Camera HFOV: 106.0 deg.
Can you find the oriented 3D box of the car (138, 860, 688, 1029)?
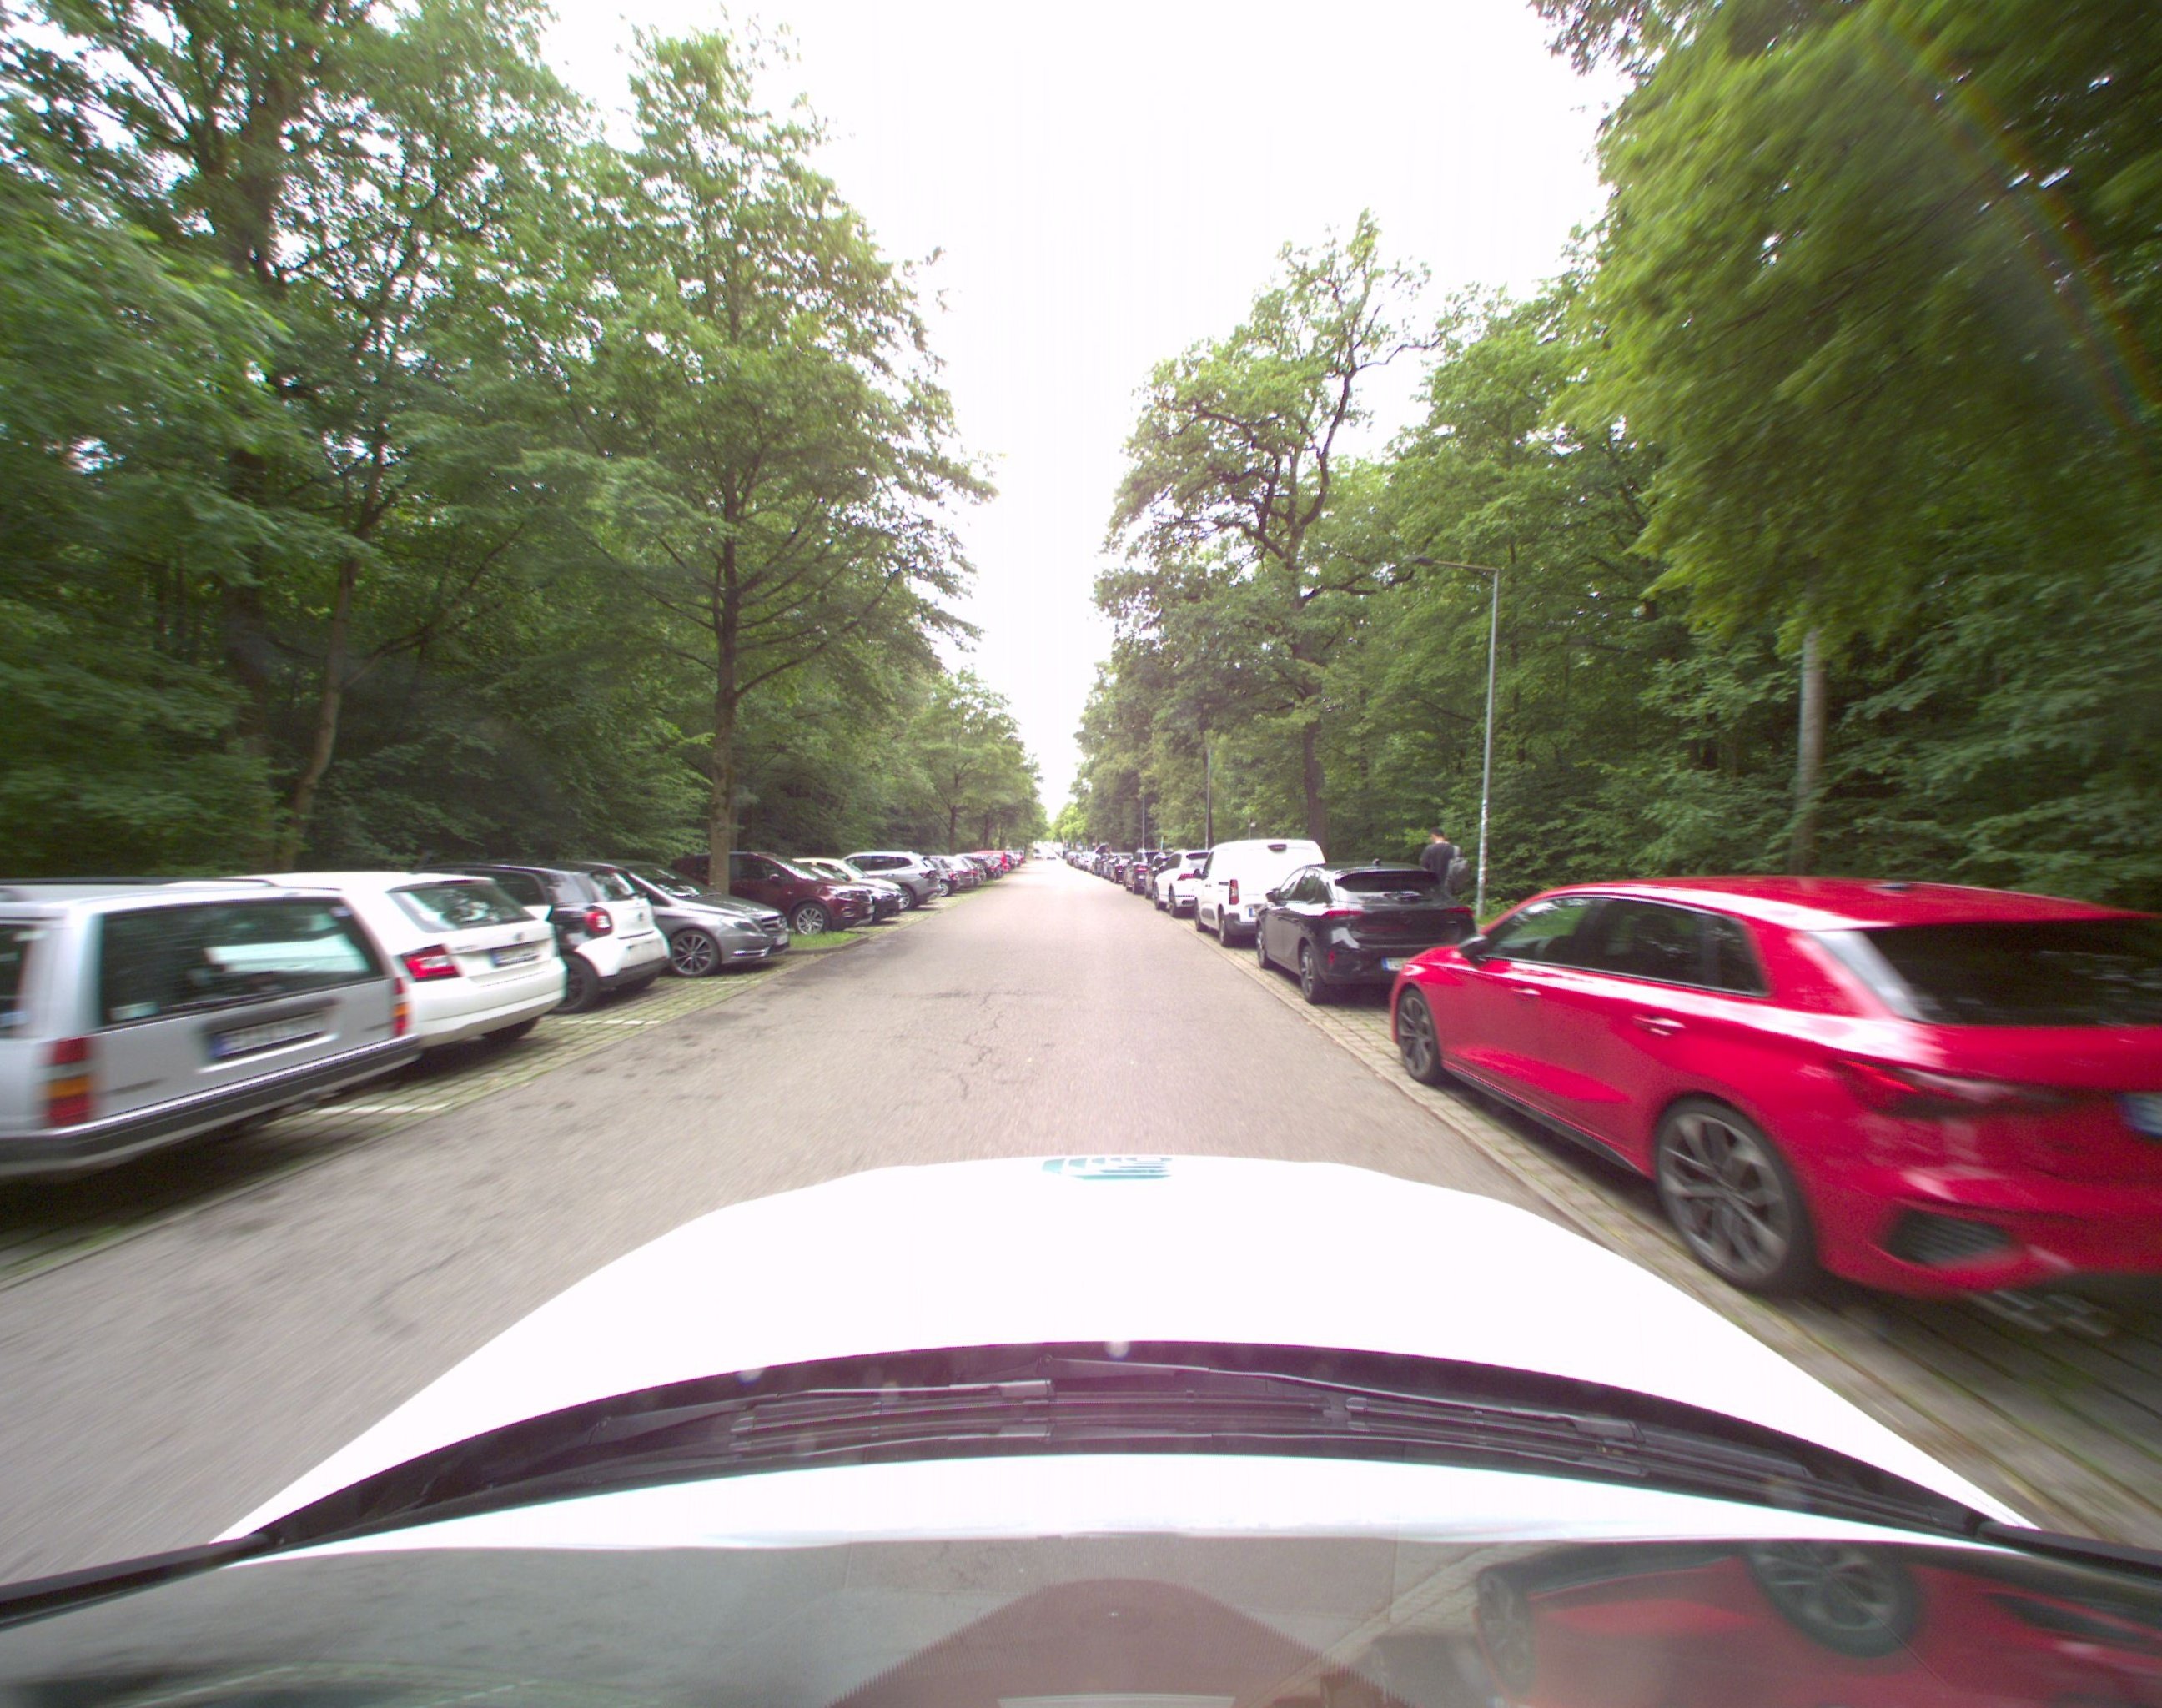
[{"bbox_3d":[-6.800,0.854,8.762,4.228,1.550,1.844,0,0,-6],"label":"car"}]

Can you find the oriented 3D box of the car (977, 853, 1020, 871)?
[{"bbox_3d":[-7.917,0.748,78.502,3.976,1.640,1.733,0,0,-2],"label":"car"}]

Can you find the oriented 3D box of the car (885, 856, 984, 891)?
[{"bbox_3d":[-6.481,0.856,36.371,4.100,1.480,1.994,0,0,-3],"label":"car"}]

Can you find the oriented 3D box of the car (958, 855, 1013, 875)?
[{"bbox_3d":[-7.156,0.814,61.268,3.977,1.474,2.113,0,0,-3],"label":"car"}]

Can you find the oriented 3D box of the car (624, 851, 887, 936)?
[{"bbox_3d":[-6.386,0.750,16.386,4.502,1.584,1.926,0,0,-2],"label":"car"}]

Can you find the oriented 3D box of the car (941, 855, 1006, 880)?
[{"bbox_3d":[-6.728,0.819,51.444,3.983,1.530,1.995,0,0,-7],"label":"car"}]

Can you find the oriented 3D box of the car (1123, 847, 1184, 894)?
[{"bbox_3d":[2.833,0.607,33.056,1.885,1.747,4.944,0,0,-2],"label":"car"}]

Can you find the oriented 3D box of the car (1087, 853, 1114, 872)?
[{"bbox_3d":[1.571,0.701,67.015,1.933,1.475,3.987,0,0,-4],"label":"car"}]

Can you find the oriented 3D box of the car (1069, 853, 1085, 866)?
[{"bbox_3d":[-0.484,0.661,98.196,1.916,1.520,3.884,0,0,-2],"label":"car"}]

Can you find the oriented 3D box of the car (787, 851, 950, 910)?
[{"bbox_3d":[-6.122,0.742,23.838,4.212,1.633,2.028,0,0,-1],"label":"car"}]

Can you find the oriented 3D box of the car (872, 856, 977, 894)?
[{"bbox_3d":[-6.475,0.839,34.027,4.082,1.523,1.926,0,0,-5],"label":"car"}]

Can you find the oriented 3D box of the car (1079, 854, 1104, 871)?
[{"bbox_3d":[0.928,0.739,72.897,1.720,1.494,3.764,0,0,-7],"label":"car"}]

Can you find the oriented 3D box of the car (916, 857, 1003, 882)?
[{"bbox_3d":[-6.822,0.848,46.276,4.722,1.343,1.985,0,0,-4],"label":"car"}]

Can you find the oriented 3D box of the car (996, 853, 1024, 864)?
[{"bbox_3d":[-9.471,0.589,108.603,3.583,1.361,1.819,0,0,-15],"label":"car"}]

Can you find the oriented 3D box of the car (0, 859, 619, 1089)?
[{"bbox_3d":[-6.435,0.790,6.307,4.550,1.486,1.940,0,0,-2],"label":"car"}]

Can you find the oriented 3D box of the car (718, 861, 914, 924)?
[{"bbox_3d":[-6.052,0.861,18.993,3.977,1.364,1.785,0,0,-2],"label":"car"}]

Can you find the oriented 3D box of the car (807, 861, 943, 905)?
[{"bbox_3d":[-6.545,0.912,26.260,3.971,1.310,1.808,0,1,-4],"label":"car"}]

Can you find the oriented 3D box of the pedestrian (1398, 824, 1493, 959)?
[{"bbox_3d":[4.844,0.477,10.890,0.815,1.726,1.004,0,0,0],"label":"pedestrian"}]

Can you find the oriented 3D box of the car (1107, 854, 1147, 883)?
[{"bbox_3d":[2.438,0.752,43.662,1.633,1.477,4.145,0,0,-4],"label":"car"}]

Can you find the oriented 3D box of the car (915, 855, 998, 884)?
[{"bbox_3d":[-6.666,0.819,43.932,4.292,1.449,1.752,0,0,-8],"label":"car"}]

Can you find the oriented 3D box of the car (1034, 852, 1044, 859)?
[{"bbox_3d":[-7.787,0.244,150.150,1.734,1.161,3.410,1,3,-1],"label":"car"}]

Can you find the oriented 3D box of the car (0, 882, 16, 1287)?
[{"bbox_3d":[-6.083,0.843,1.755,4.553,1.447,2.083,0,0,-4],"label":"car"}]

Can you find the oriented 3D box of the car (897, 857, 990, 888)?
[{"bbox_3d":[-6.542,0.853,38.960,4.097,1.431,1.963,0,0,-1],"label":"car"}]

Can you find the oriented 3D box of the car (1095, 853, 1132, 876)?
[{"bbox_3d":[2.133,0.684,55.141,1.975,1.537,4.158,0,0,-6],"label":"car"}]

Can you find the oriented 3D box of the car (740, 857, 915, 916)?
[{"bbox_3d":[-6.595,0.831,21.490,4.009,1.465,1.799,0,0,0],"label":"car"}]

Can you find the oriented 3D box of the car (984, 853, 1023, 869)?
[{"bbox_3d":[-8.185,0.758,85.914,3.976,1.640,2.008,0,0,-2],"label":"car"}]

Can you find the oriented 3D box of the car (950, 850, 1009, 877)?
[{"bbox_3d":[-6.980,0.624,56.427,3.981,1.816,2.111,0,0,-5],"label":"car"}]

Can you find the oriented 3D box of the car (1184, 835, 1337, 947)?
[{"bbox_3d":[3.160,0.588,15.271,1.740,1.780,4.548,0,0,-2],"label":"car"}]

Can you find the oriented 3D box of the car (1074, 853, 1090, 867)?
[{"bbox_3d":[0.077,0.649,91.001,1.706,1.509,3.997,0,0,-2],"label":"car"}]

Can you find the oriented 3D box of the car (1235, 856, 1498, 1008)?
[{"bbox_3d":[3.119,0.742,9.874,1.719,1.422,4.284,0,0,0],"label":"car"}]

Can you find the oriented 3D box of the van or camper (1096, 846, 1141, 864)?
[{"bbox_3d":[6.401,0.224,138.843,7.341,2.888,2.635,0,3,-17],"label":"van or camper"}]

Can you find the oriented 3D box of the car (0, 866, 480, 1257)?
[{"bbox_3d":[-6.011,0.840,4.101,4.547,1.486,1.869,0,0,0],"label":"car"}]

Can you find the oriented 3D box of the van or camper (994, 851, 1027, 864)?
[{"bbox_3d":[-10.371,0.524,119.417,4.485,1.868,1.909,0,3,-17],"label":"van or camper"}]

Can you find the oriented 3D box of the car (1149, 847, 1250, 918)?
[{"bbox_3d":[2.975,0.659,21.476,1.781,1.662,4.712,0,0,-3],"label":"car"}]

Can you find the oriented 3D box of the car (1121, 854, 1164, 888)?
[{"bbox_3d":[2.847,0.781,38.637,1.594,1.504,4.087,0,0,-2],"label":"car"}]

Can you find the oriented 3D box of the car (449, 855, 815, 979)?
[{"bbox_3d":[-6.040,0.801,11.384,4.024,1.555,1.918,0,0,-2],"label":"car"}]

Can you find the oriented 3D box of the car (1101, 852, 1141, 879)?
[{"bbox_3d":[2.376,0.669,49.514,1.973,1.537,4.617,0,0,-3],"label":"car"}]

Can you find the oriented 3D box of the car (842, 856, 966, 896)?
[{"bbox_3d":[-6.776,0.837,31.522,4.387,1.488,1.837,0,0,-1],"label":"car"}]

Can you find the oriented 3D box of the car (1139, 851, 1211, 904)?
[{"bbox_3d":[3.060,0.715,27.336,1.746,1.607,4.443,0,0,-2],"label":"car"}]

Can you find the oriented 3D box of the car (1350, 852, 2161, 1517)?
[{"bbox_3d":[3.214,0.730,4.311,1.987,1.479,4.971,0,0,0],"label":"car"}]

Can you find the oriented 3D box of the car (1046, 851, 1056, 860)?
[{"bbox_3d":[-5.488,0.199,148.185,1.687,1.415,3.151,1,3,-3],"label":"car"}]

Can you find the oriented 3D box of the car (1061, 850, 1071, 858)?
[{"bbox_3d":[-2.828,-0.029,152.999,1.625,1.415,3.407,1,3,-3],"label":"car"}]

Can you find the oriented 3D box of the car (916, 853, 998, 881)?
[{"bbox_3d":[-7.396,0.770,48.953,4.722,1.595,1.957,0,0,-4],"label":"car"}]

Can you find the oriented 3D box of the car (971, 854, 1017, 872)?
[{"bbox_3d":[-7.602,0.805,71.185,3.822,1.536,1.869,0,0,-2],"label":"car"}]

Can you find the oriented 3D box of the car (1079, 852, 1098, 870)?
[{"bbox_3d":[0.677,0.639,78.838,1.706,1.728,3.997,0,0,-2],"label":"car"}]
